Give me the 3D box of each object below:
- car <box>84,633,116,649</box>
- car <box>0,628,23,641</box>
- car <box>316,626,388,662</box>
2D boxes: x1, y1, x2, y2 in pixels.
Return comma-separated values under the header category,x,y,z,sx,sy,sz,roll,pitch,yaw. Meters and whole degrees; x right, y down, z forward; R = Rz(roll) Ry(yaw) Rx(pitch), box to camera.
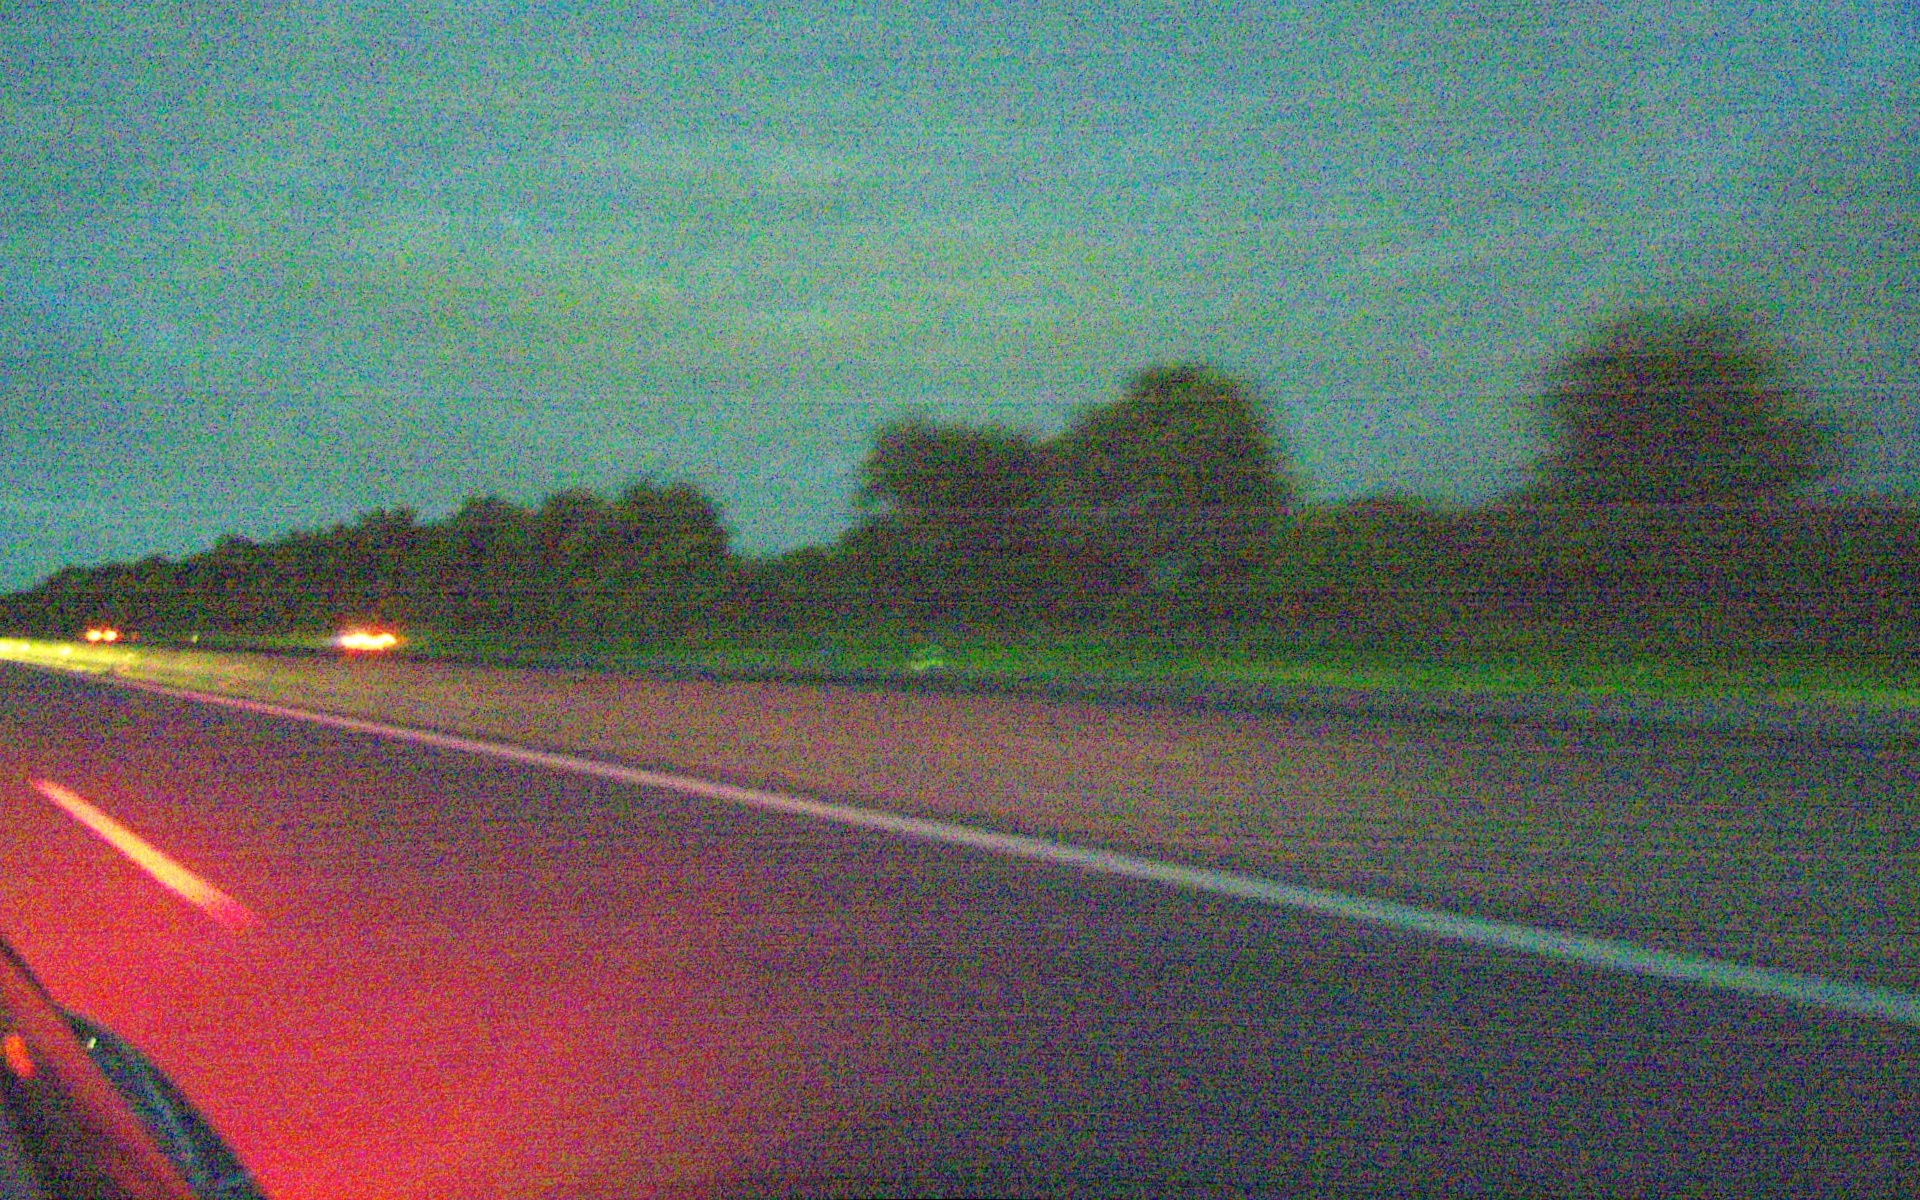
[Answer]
category,x,y,z,sx,sy,sz,roll,pitch,yaw
car,-88.052,4.200,103.611,4.654,1.633,1.883,-2,-2,42
car,-115.751,4.214,123.333,4.654,1.482,1.883,-2,-2,42
car,-32.670,2.317,54.307,5.044,1.646,1.883,0,2,42
